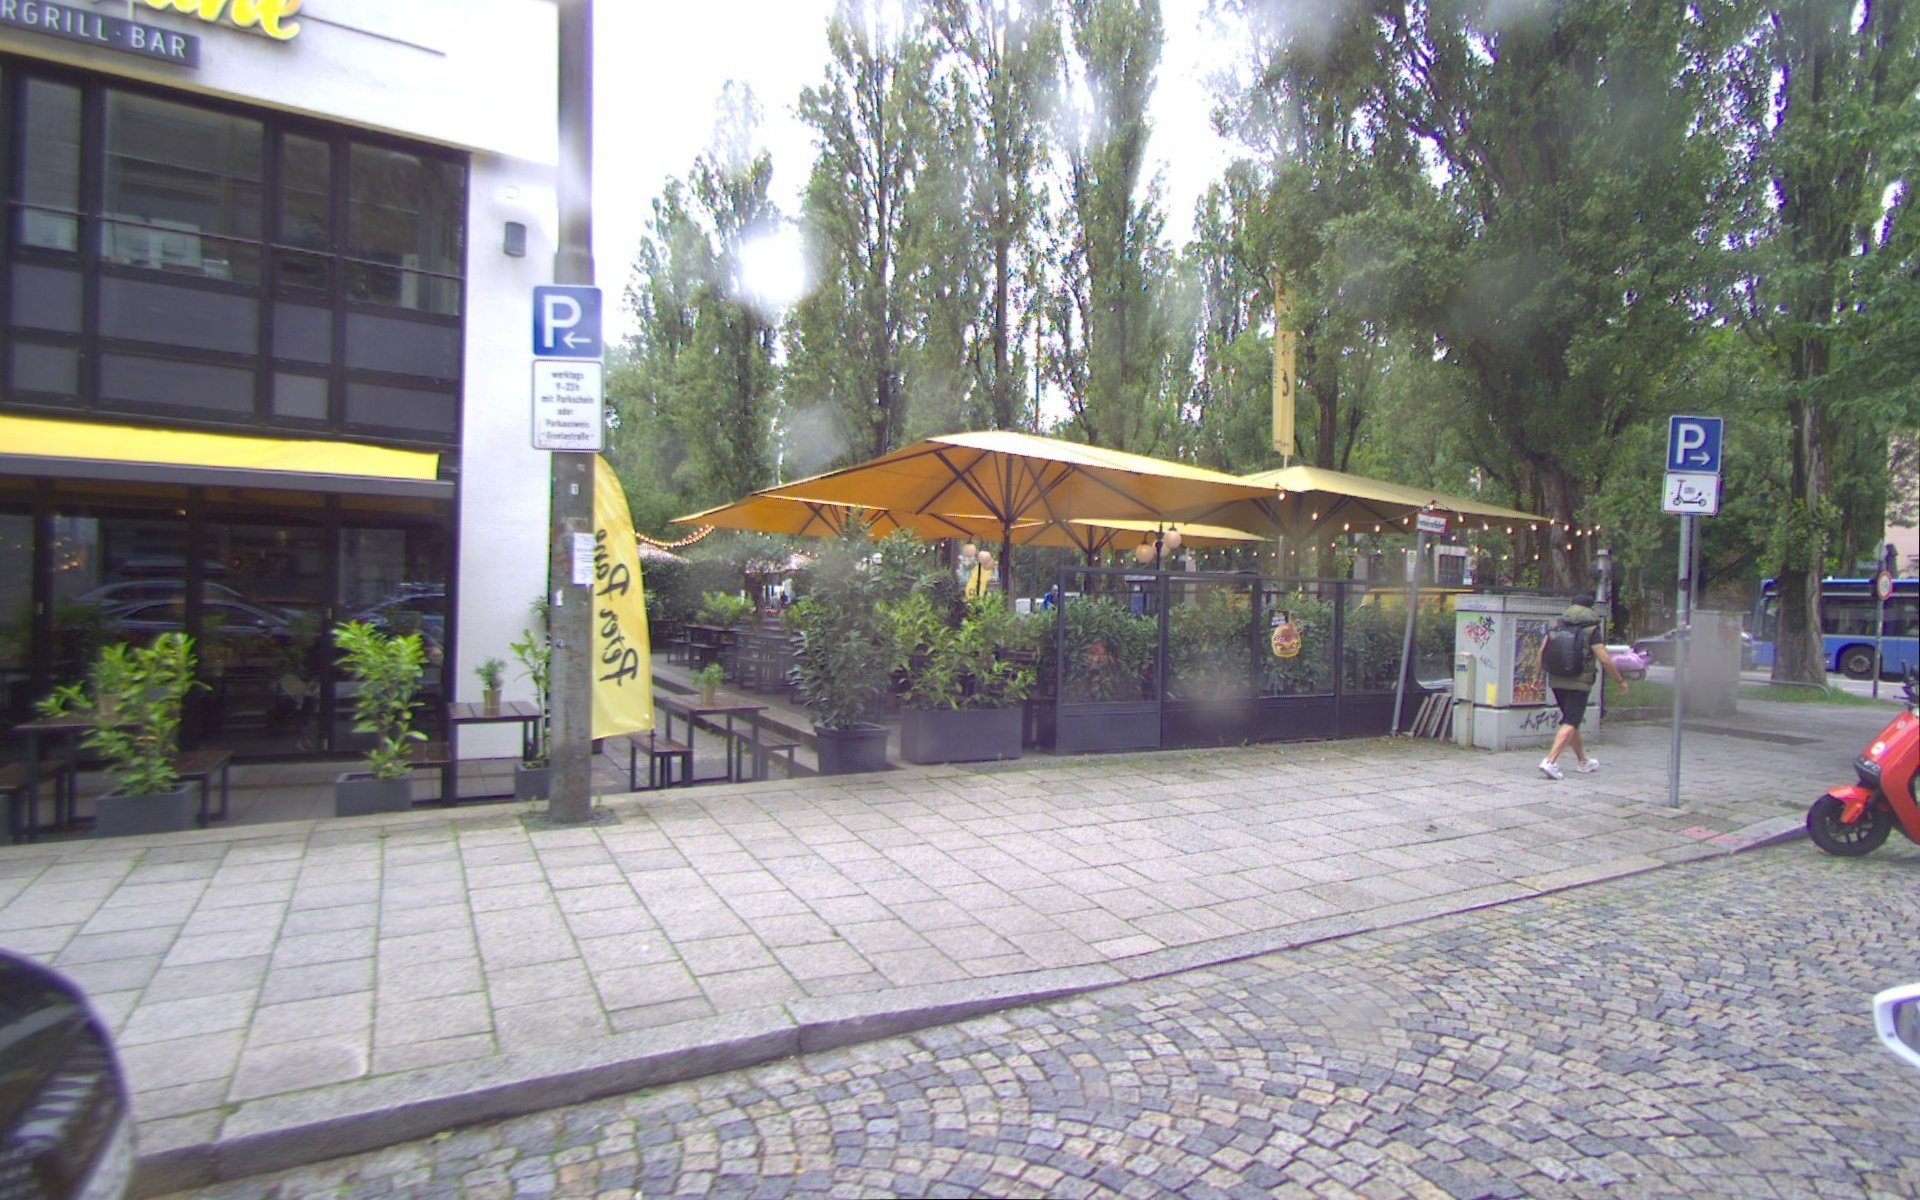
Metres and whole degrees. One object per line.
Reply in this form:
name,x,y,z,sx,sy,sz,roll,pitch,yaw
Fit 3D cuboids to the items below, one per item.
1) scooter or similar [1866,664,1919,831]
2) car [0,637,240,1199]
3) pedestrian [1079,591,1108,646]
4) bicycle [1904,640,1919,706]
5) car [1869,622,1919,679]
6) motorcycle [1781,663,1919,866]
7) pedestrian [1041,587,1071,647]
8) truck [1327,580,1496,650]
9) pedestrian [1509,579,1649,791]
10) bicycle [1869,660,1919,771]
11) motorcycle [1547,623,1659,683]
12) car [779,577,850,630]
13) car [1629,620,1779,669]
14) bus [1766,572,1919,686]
scooter or similar,7.661,1.143,7.981,0.383,1.195,1.249,2,0,29
car,-3.252,0.730,0.817,4.066,1.348,1.985,2,0,-29
pedestrian,4.356,0.598,32.678,0.635,1.750,0.700,2,0,38
bicycle,17.051,1.256,17.254,1.956,1.108,0.489,2,0,-24
car,31.588,1.676,31.608,1.772,1.754,4.046,3,-1,-29
motorcycle,6.635,1.069,6.435,1.951,1.212,0.771,2,0,18
pedestrian,3.139,0.546,32.775,0.635,1.933,0.700,2,0,38
truck,20.860,0.614,46.896,2.570,2.946,7.027,3,0,-28
pedestrian,5.574,0.733,9.070,0.697,1.796,0.746,1,2,-29
bicycle,9.979,1.152,10.240,1.742,1.036,0.549,2,0,-31
motorcycle,13.966,1.137,21.870,1.951,1.212,0.630,1,0,18
car,-8.977,0.190,61.421,2.174,3.057,5.951,1,0,-30
car,28.063,1.631,38.027,1.771,1.622,4.206,2,0,-28
bus,27.924,0.815,26.758,2.892,3.092,9.720,1,0,-29
